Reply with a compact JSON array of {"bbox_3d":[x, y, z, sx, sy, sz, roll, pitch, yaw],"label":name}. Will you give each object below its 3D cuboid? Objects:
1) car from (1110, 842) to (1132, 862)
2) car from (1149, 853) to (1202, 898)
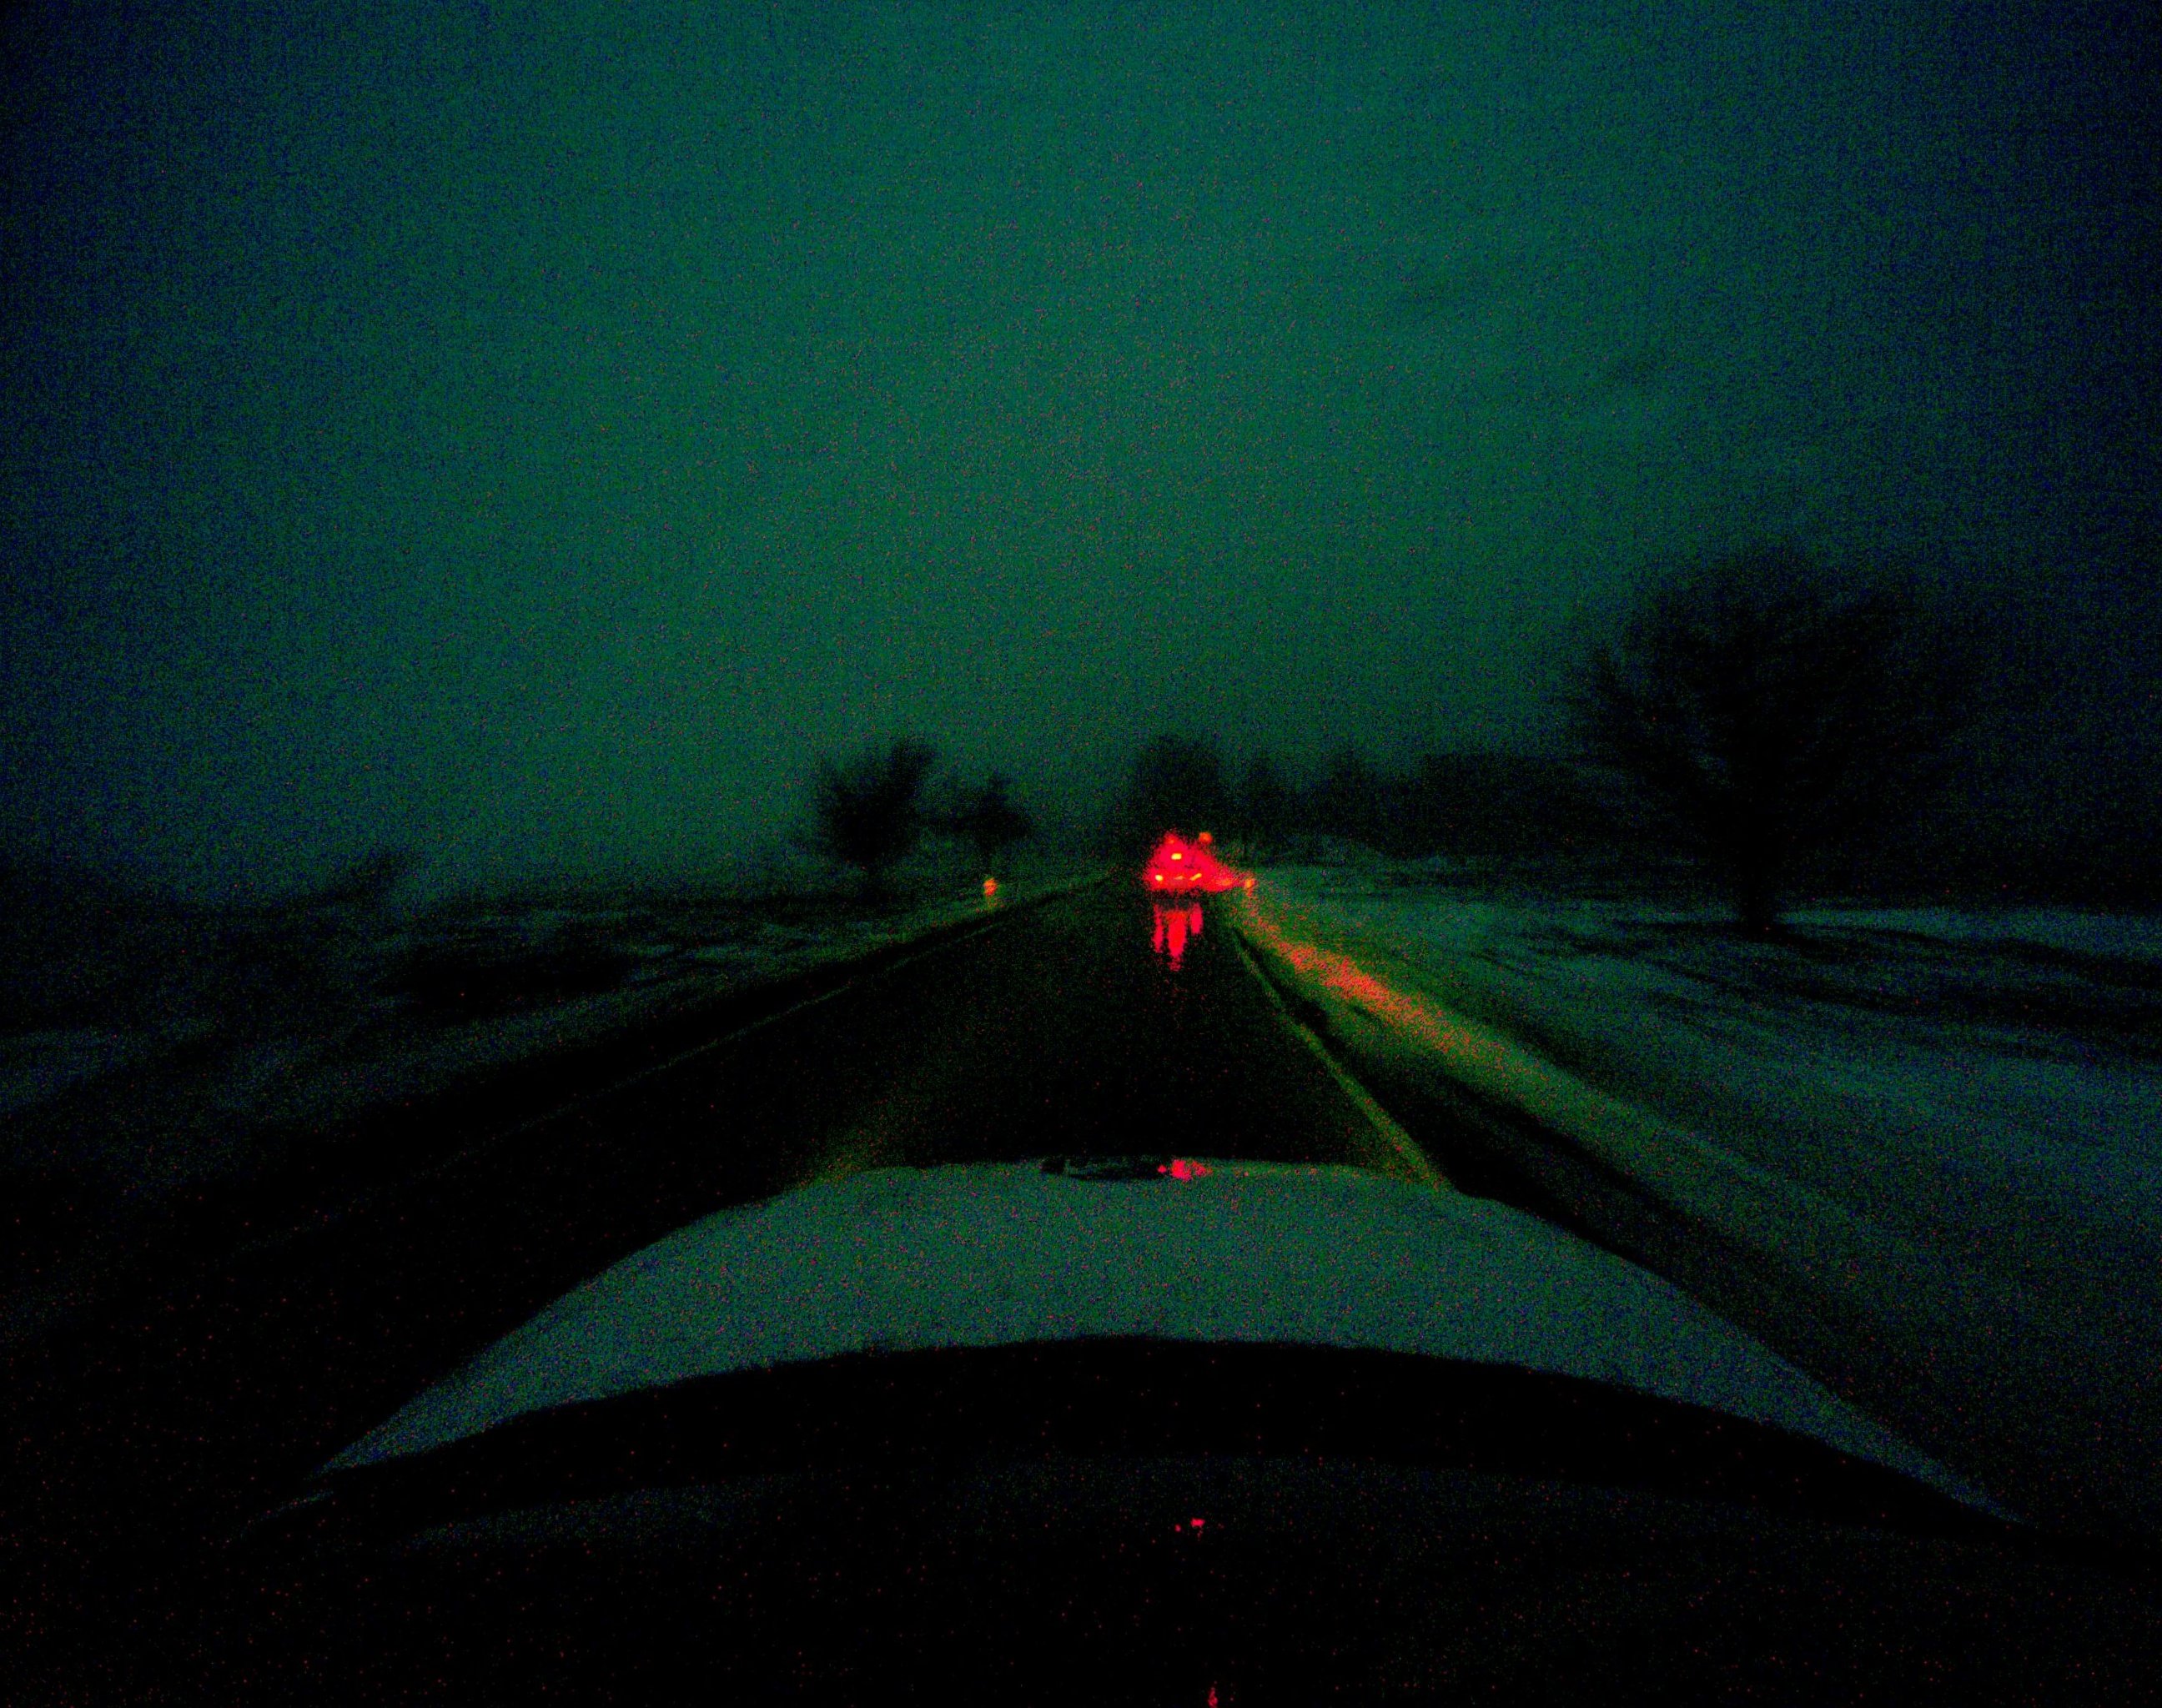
[{"bbox_3d":[3.314,-0.140,67.507,1.514,1.508,3.059,-2,-1,8],"label":"car"},{"bbox_3d":[3.301,0.747,29.102,1.699,1.463,4.004,1,-1,4],"label":"car"}]
